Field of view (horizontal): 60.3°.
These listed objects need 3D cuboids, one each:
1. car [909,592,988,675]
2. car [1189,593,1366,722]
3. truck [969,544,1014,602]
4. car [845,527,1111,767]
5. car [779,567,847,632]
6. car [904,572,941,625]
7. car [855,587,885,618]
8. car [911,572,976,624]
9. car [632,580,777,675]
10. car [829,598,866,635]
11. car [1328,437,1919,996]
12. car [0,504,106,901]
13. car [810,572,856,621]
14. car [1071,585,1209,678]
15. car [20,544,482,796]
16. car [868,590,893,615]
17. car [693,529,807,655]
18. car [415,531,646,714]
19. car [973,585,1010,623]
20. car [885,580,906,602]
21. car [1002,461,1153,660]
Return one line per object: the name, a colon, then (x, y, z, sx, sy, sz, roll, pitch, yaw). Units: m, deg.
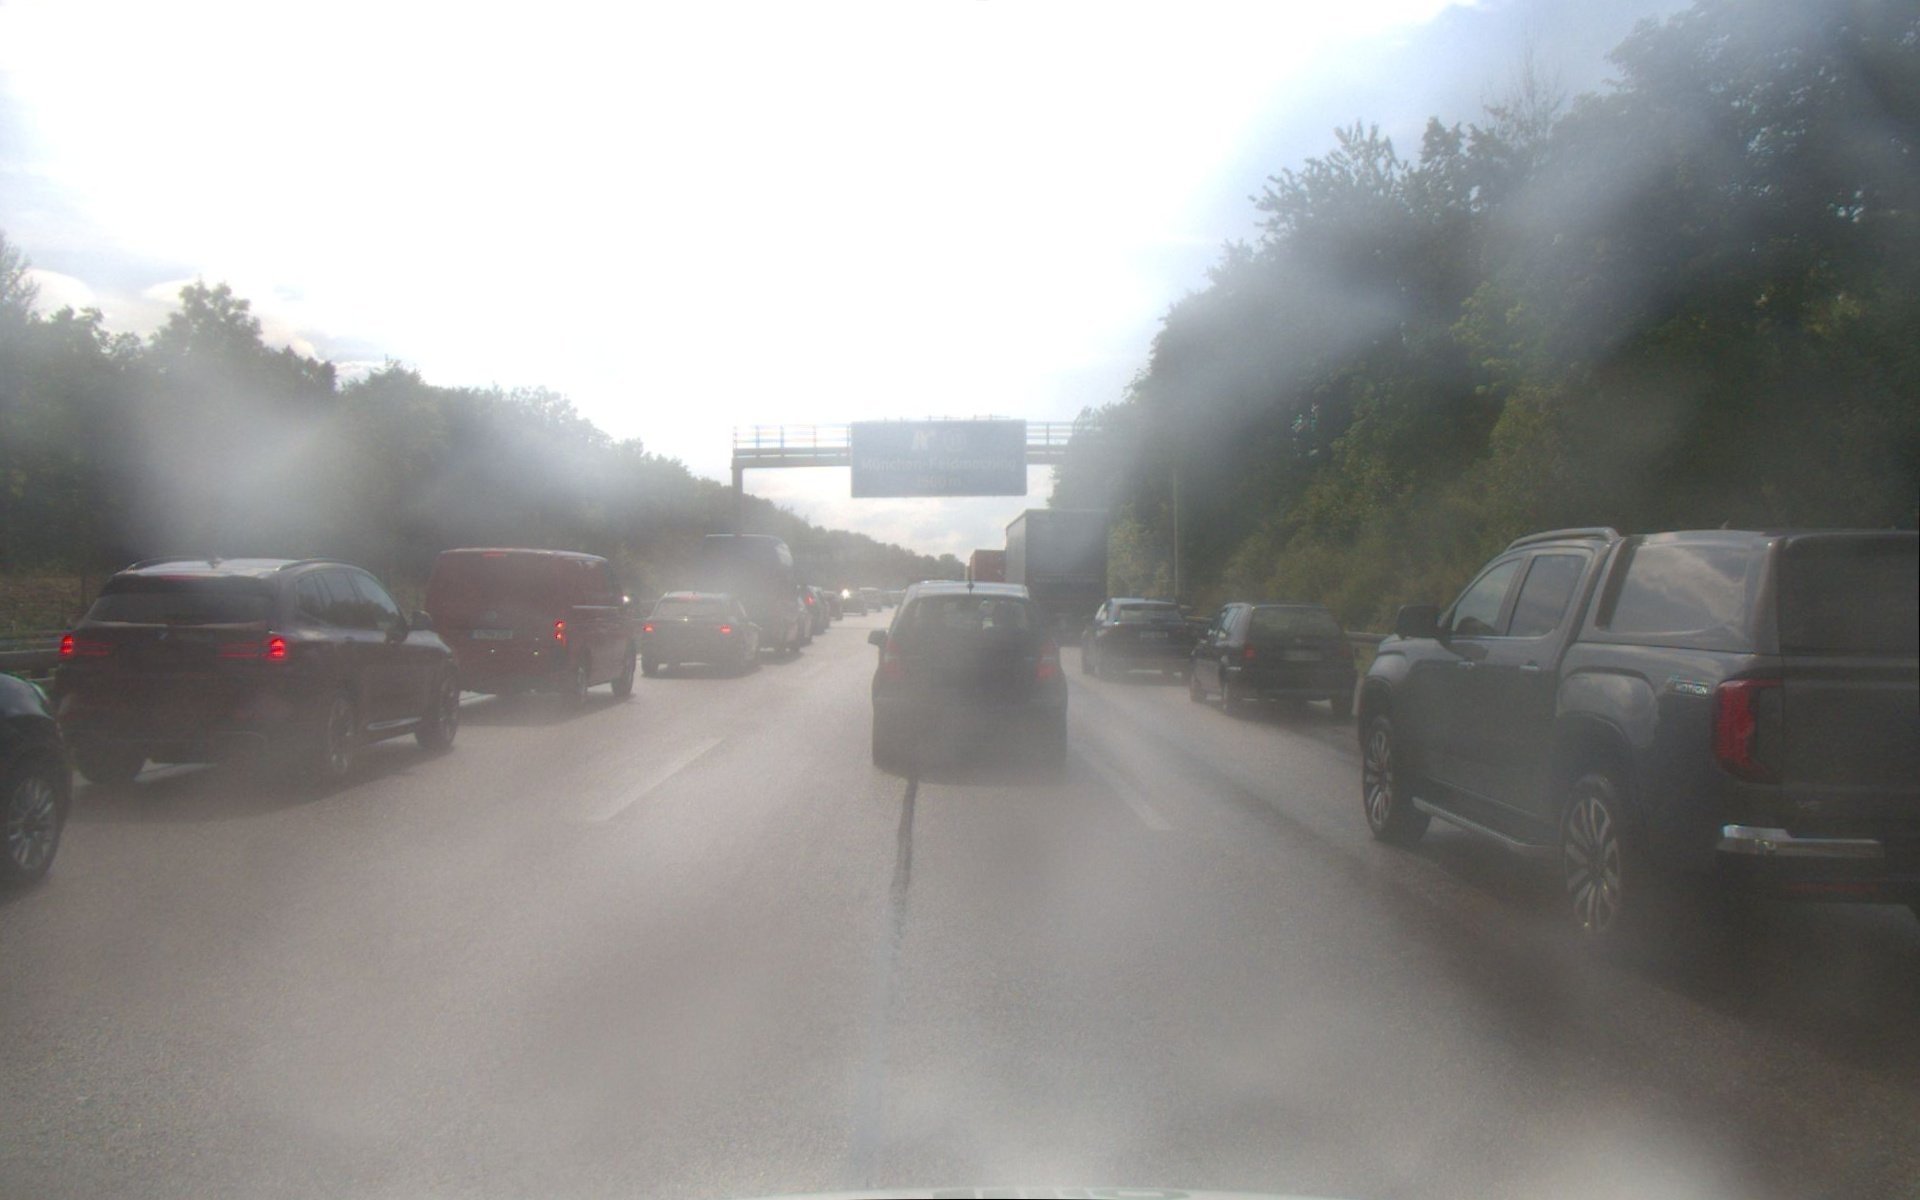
car: (-0.319, 0.745, 38.873, 1.659, 1.836, 3.973, 1, 0, -3)
car: (4.113, 0.700, 21.967, 1.558, 1.542, 3.976, 1, 0, 0)
truck: (2.041, -1.713, 108.668, 2.719, 3.695, 5.916, 1, 0, -1)
car: (0.050, 0.405, 16.372, 2.229, 1.989, 4.818, 1, 0, -3)
car: (-5.117, -0.006, 58.082, 1.953, 2.152, 4.888, 1, 0, -1)
car: (-2.064, -0.088, 91.427, 1.953, 2.794, 5.258, 1, 0, -1)
car: (-6.492, 0.198, 119.402, 1.953, 2.152, 4.888, 1, 0, -1)
car: (-0.564, -0.058, 51.897, 1.828, 1.542, 3.973, 1, 0, -3)
car: (-4.606, 0.468, 30.481, 1.953, 1.592, 4.755, 1, 0, -1)
car: (-6.790, 0.981, 100.032, 1.953, 2.152, 4.888, 1, 0, -1)
car: (3.597, 0.425, 8.657, 1.902, 1.952, 5.650, 1, 0, -2)
car: (-5.222, 0.460, 6.592, 1.658, 1.836, 3.974, 1, 0, -2)
car: (-6.495, -0.167, 84.984, 1.953, 2.427, 5.258, 1, 0, -1)
car: (3.157, 0.533, 29.754, 1.828, 1.542, 3.973, 1, 0, -3)
car: (-5.469, 0.470, 13.524, 1.870, 1.665, 4.615, -1, 0, -2)
car: (-6.962, 0.187, 145.672, 1.953, 2.152, 4.888, 1, 0, -1)
car: (-4.729, -0.168, 37.928, 1.953, 2.661, 5.258, 1, 0, -1)
car: (-5.432, 0.266, 21.569, 1.939, 2.090, 4.754, 1, 0, -3)
car: (1.791, 0.230, 95.207, 1.953, 2.152, 4.888, 1, 0, -1)
car: (-6.568, -0.883, 169.459, 1.953, 2.152, 4.888, 1, 0, -1)
car: (3.749, -1.169, 58.311, 4.313, 5.932, 16.819, 1, 0, 1)
